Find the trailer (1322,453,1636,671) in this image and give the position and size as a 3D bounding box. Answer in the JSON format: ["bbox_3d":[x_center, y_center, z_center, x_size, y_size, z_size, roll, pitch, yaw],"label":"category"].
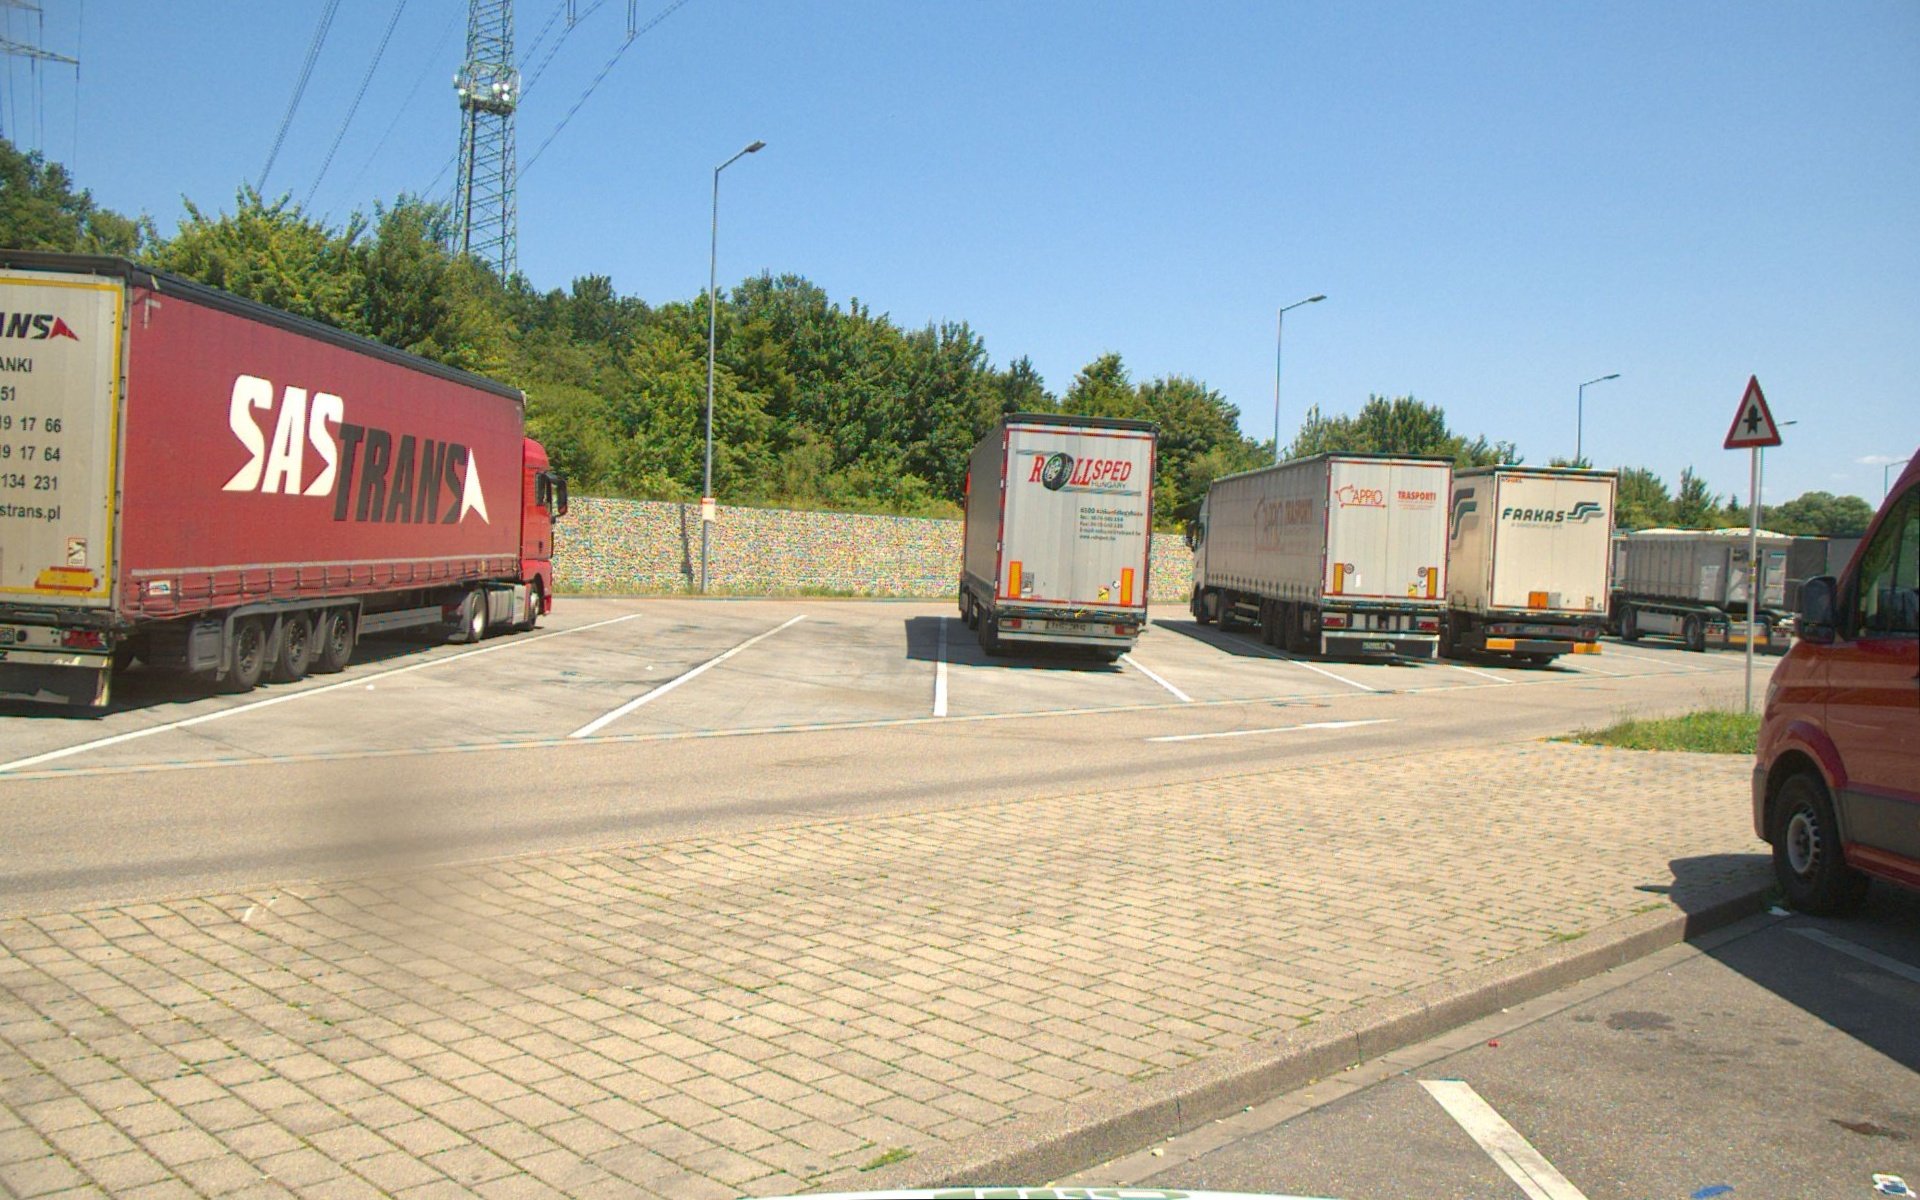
[{"bbox_3d":[11.766,-0.998,39.597,2.800,4.180,13.762,2,2,-1],"label":"trailer"}]

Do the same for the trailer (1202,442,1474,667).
[{"bbox_3d":[8.247,-1.108,38.532,2.800,4.180,13.762,2,2,-1],"label":"trailer"}]

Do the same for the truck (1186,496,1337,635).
[{"bbox_3d":[8.123,-0.991,45.294,2.808,3.421,5.974,2,2,-1],"label":"truck"}]

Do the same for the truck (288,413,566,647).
[{"bbox_3d":[-8.799,-1.164,28.092,2.755,3.421,5.974,2,2,-1],"label":"truck"}]

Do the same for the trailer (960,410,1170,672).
[{"bbox_3d":[1.674,-1.180,33.177,2.800,4.040,13.761,2,2,-2],"label":"trailer"}]

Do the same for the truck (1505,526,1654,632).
[{"bbox_3d":[21.730,-0.805,58.374,2.808,3.421,5.974,2,2,-1],"label":"truck"}]

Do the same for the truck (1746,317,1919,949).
[{"bbox_3d":[4.999,0.152,5.547,1.969,2.697,6.457,1,0,3],"label":"truck"}]

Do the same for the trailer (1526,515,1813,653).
[{"bbox_3d":[21.830,-0.691,52.279,2.800,3.662,13.762,2,2,-1],"label":"trailer"}]

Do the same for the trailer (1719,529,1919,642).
[{"bbox_3d":[34.779,-0.723,65.481,2.800,3.972,13.762,2,2,-1],"label":"trailer"}]

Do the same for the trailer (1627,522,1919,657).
[{"bbox_3d":[25.711,-0.527,52.945,2.800,3.662,13.762,2,2,-1],"label":"trailer"}]

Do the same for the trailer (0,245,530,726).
[{"bbox_3d":[-8.689,-1.271,21.277,2.764,4.141,13.763,2,2,-1],"label":"trailer"}]

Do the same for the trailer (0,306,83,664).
[{"bbox_3d":[-12.484,-1.259,15.819,2.651,4.173,10.389,2,2,-1],"label":"trailer"}]

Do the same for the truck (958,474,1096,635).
[{"bbox_3d":[1.472,-1.096,39.374,2.808,3.421,5.974,2,2,-1],"label":"truck"}]
